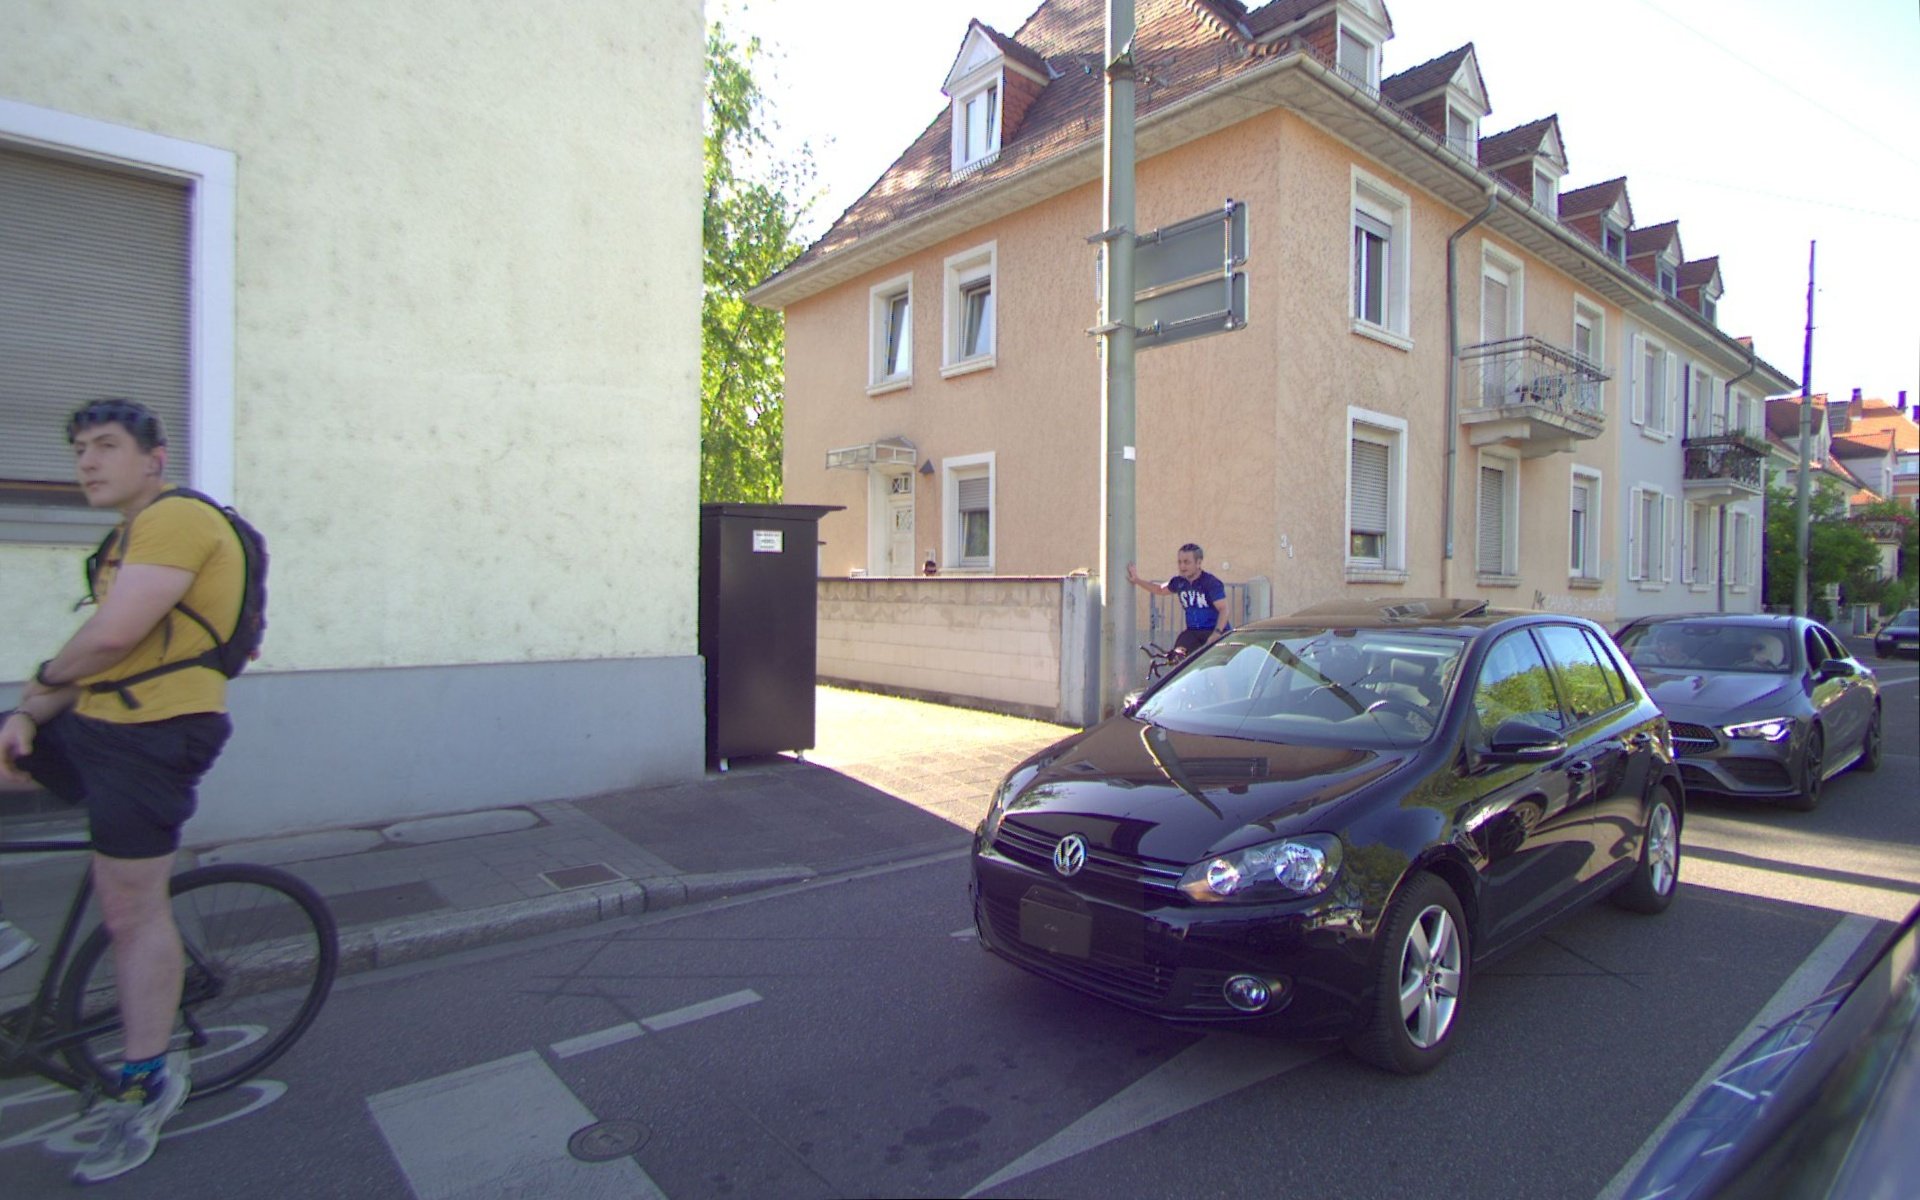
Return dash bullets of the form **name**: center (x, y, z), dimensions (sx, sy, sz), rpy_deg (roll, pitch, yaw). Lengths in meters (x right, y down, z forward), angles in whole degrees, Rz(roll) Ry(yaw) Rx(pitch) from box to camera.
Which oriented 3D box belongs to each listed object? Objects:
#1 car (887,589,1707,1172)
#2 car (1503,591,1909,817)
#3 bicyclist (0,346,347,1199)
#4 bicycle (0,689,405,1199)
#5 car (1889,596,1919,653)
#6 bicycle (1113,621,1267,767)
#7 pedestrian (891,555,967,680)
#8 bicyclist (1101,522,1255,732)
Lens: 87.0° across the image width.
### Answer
- **car**: center (1.756, 0.691, 4.499), dimensions (3.921, 1.456, 1.716), rpy_deg (-1, 0, -41)
- **car**: center (6.513, 0.690, 8.639), dimensions (4.410, 1.449, 1.824), rpy_deg (1, 0, -40)
- **bicyclist**: center (-2.260, 0.427, 2.751), dimensions (0.777, 1.991, 0.768), rpy_deg (0, 0, 36)
- **bicycle**: center (-2.497, 0.874, 2.598), dimensions (0.777, 1.120, 1.720), rpy_deg (0, 0, 36)
- **car**: center (26.765, 0.635, 27.439), dimensions (4.258, 1.448, 1.824), rpy_deg (-1, 0, -40)
- **bicycle**: center (2.055, 0.770, 8.911), dimensions (0.554, 1.088, 1.601), rpy_deg (6, 4, 42)
- **pedestrian**: center (-0.433, 0.225, 14.000), dimensions (0.600, 1.624, 0.760), rpy_deg (0, 6, -43)
- **bicyclist**: center (1.934, 0.200, 9.021), dimensions (1.018, 1.714, 0.718), rpy_deg (6, 4, 42)
